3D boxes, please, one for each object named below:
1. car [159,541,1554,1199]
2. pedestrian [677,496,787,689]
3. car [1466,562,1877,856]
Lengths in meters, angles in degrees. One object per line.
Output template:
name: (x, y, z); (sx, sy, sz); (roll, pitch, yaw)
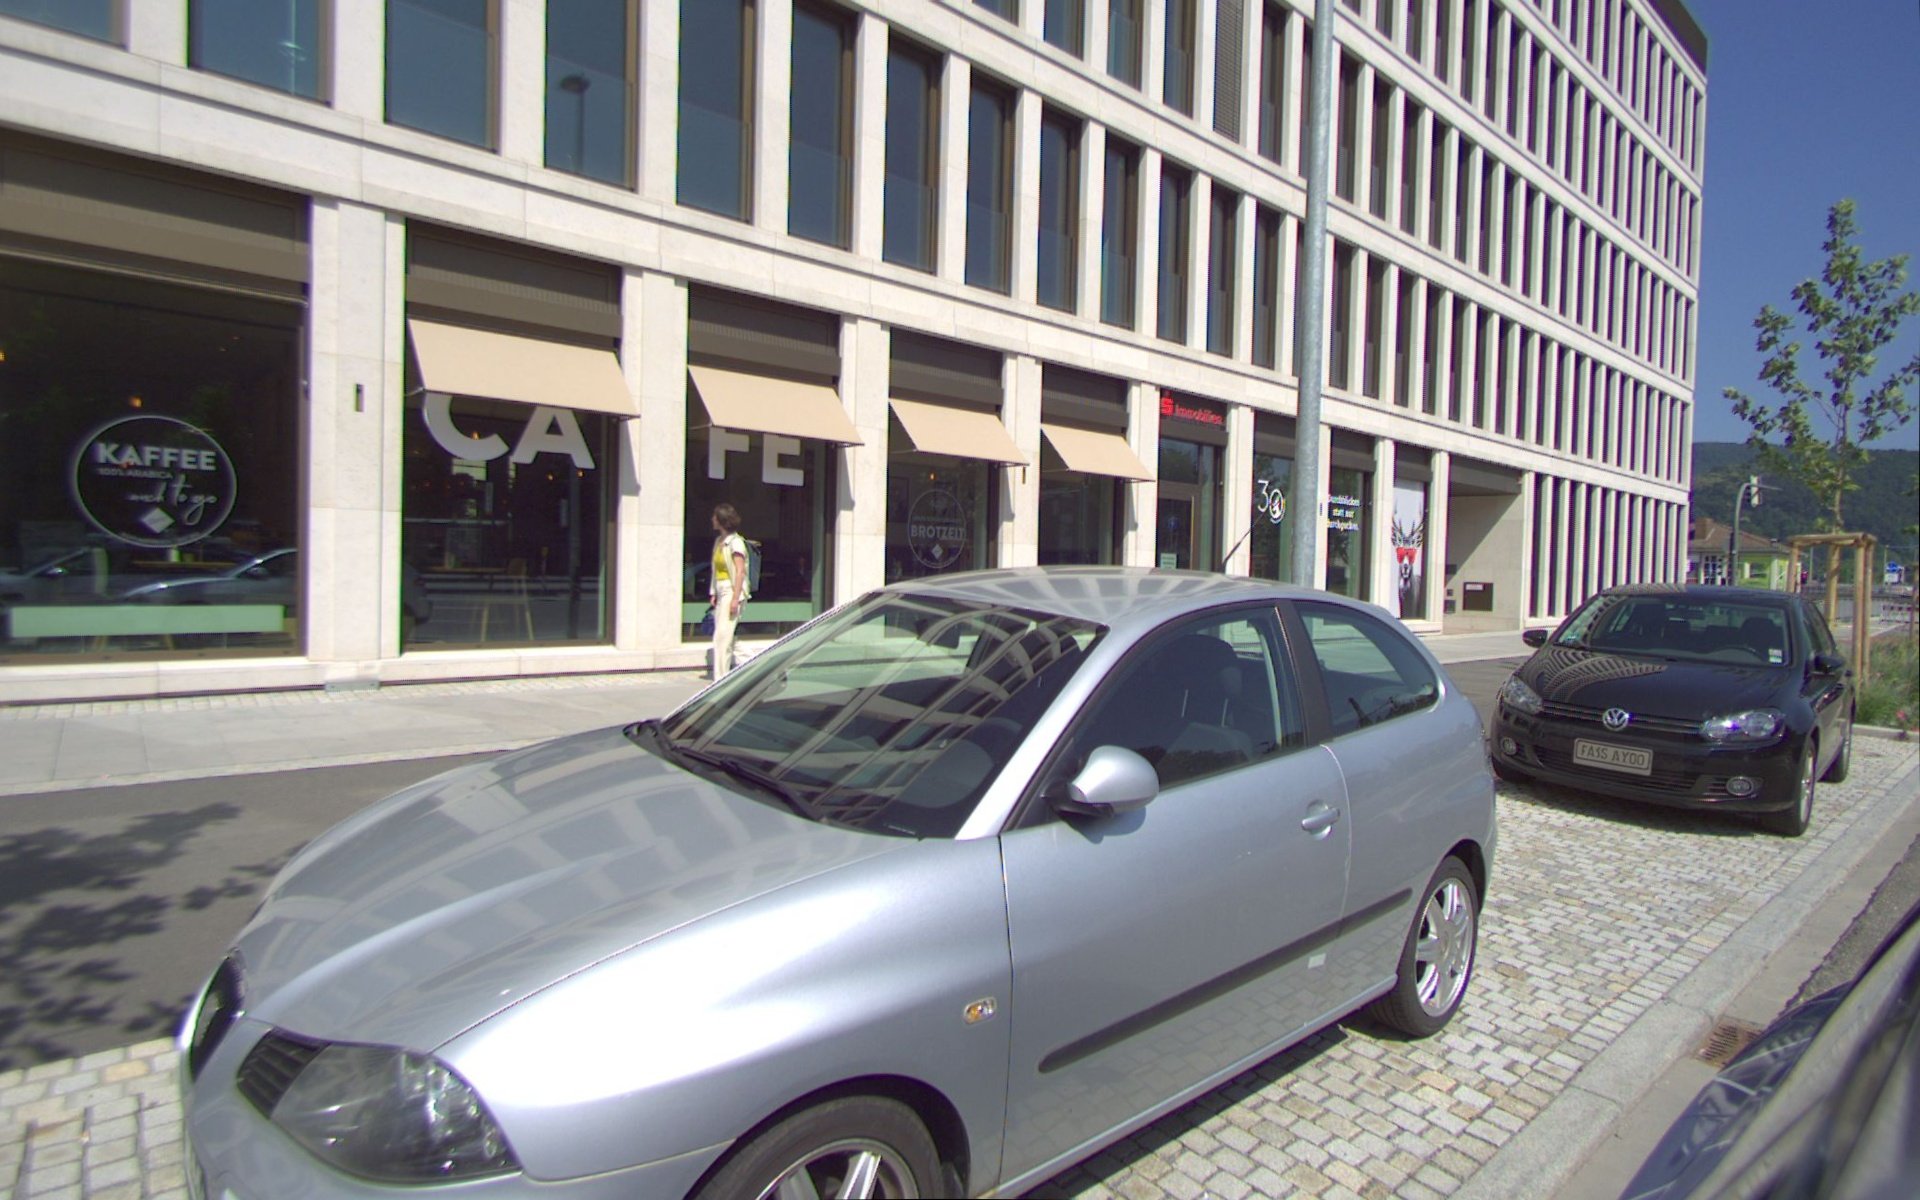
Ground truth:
car: (0.118, 0.612, 2.915); (3.747, 1.405, 1.608); (0, 2, -41)
pedestrian: (-2.192, -0.077, 9.728); (0.800, 1.764, 0.629); (1, 1, -41)
car: (5.383, 0.560, 7.449); (3.915, 1.492, 1.738); (0, 5, -45)
